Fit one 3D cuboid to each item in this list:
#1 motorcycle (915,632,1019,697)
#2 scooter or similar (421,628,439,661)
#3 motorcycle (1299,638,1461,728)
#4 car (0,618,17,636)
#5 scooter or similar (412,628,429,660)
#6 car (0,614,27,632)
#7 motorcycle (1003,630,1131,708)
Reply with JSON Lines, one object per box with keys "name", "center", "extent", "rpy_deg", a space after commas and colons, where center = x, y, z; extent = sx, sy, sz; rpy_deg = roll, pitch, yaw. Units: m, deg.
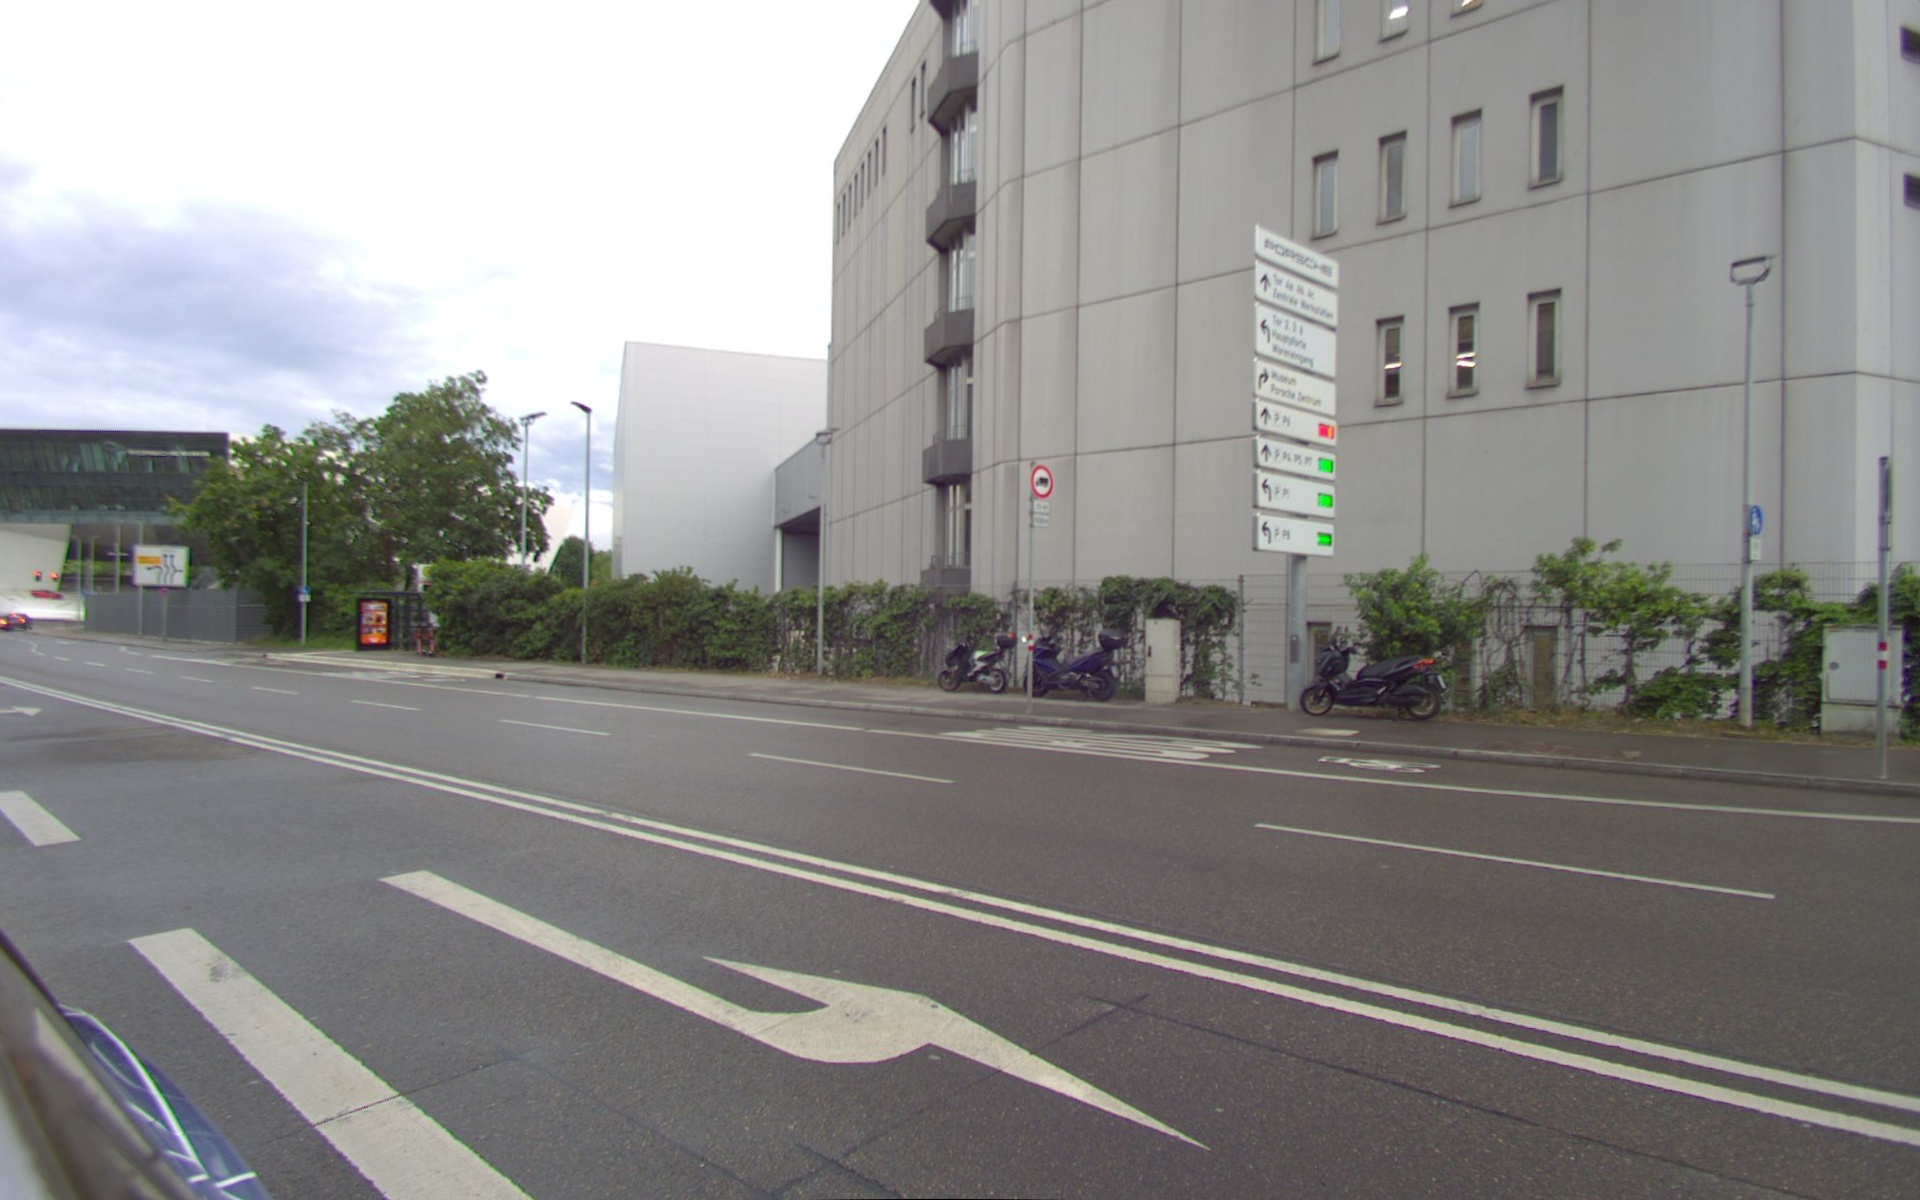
{"name": "motorcycle", "center": [0.124, 1.302, 20.917], "extent": [2.156, 1.260, 0.776], "rpy_deg": [-1, -2, 40]}
{"name": "scooter or similar", "center": [-19.419, 1.620, 37.071], "extent": [0.373, 1.190, 1.381], "rpy_deg": [1, -1, -36]}
{"name": "motorcycle", "center": [6.381, 1.225, 15.454], "extent": [2.156, 1.257, 0.776], "rpy_deg": [-1, -2, 40]}
{"name": "car", "center": [-84.979, 2.353, 89.018], "extent": [2.233, 1.488, 4.059], "rpy_deg": [1, -1, -32]}
{"name": "scooter or similar", "center": [-20.302, 1.641, 38.103], "extent": [0.383, 1.189, 1.253], "rpy_deg": [1, -1, -36]}
{"name": "car", "center": [-89.144, 2.187, 94.709], "extent": [1.834, 1.663, 3.799], "rpy_deg": [1, -2, -30]}
{"name": "motorcycle", "center": [1.965, 1.247, 18.877], "extent": [2.368, 1.358, 0.776], "rpy_deg": [-1, -2, 40]}
